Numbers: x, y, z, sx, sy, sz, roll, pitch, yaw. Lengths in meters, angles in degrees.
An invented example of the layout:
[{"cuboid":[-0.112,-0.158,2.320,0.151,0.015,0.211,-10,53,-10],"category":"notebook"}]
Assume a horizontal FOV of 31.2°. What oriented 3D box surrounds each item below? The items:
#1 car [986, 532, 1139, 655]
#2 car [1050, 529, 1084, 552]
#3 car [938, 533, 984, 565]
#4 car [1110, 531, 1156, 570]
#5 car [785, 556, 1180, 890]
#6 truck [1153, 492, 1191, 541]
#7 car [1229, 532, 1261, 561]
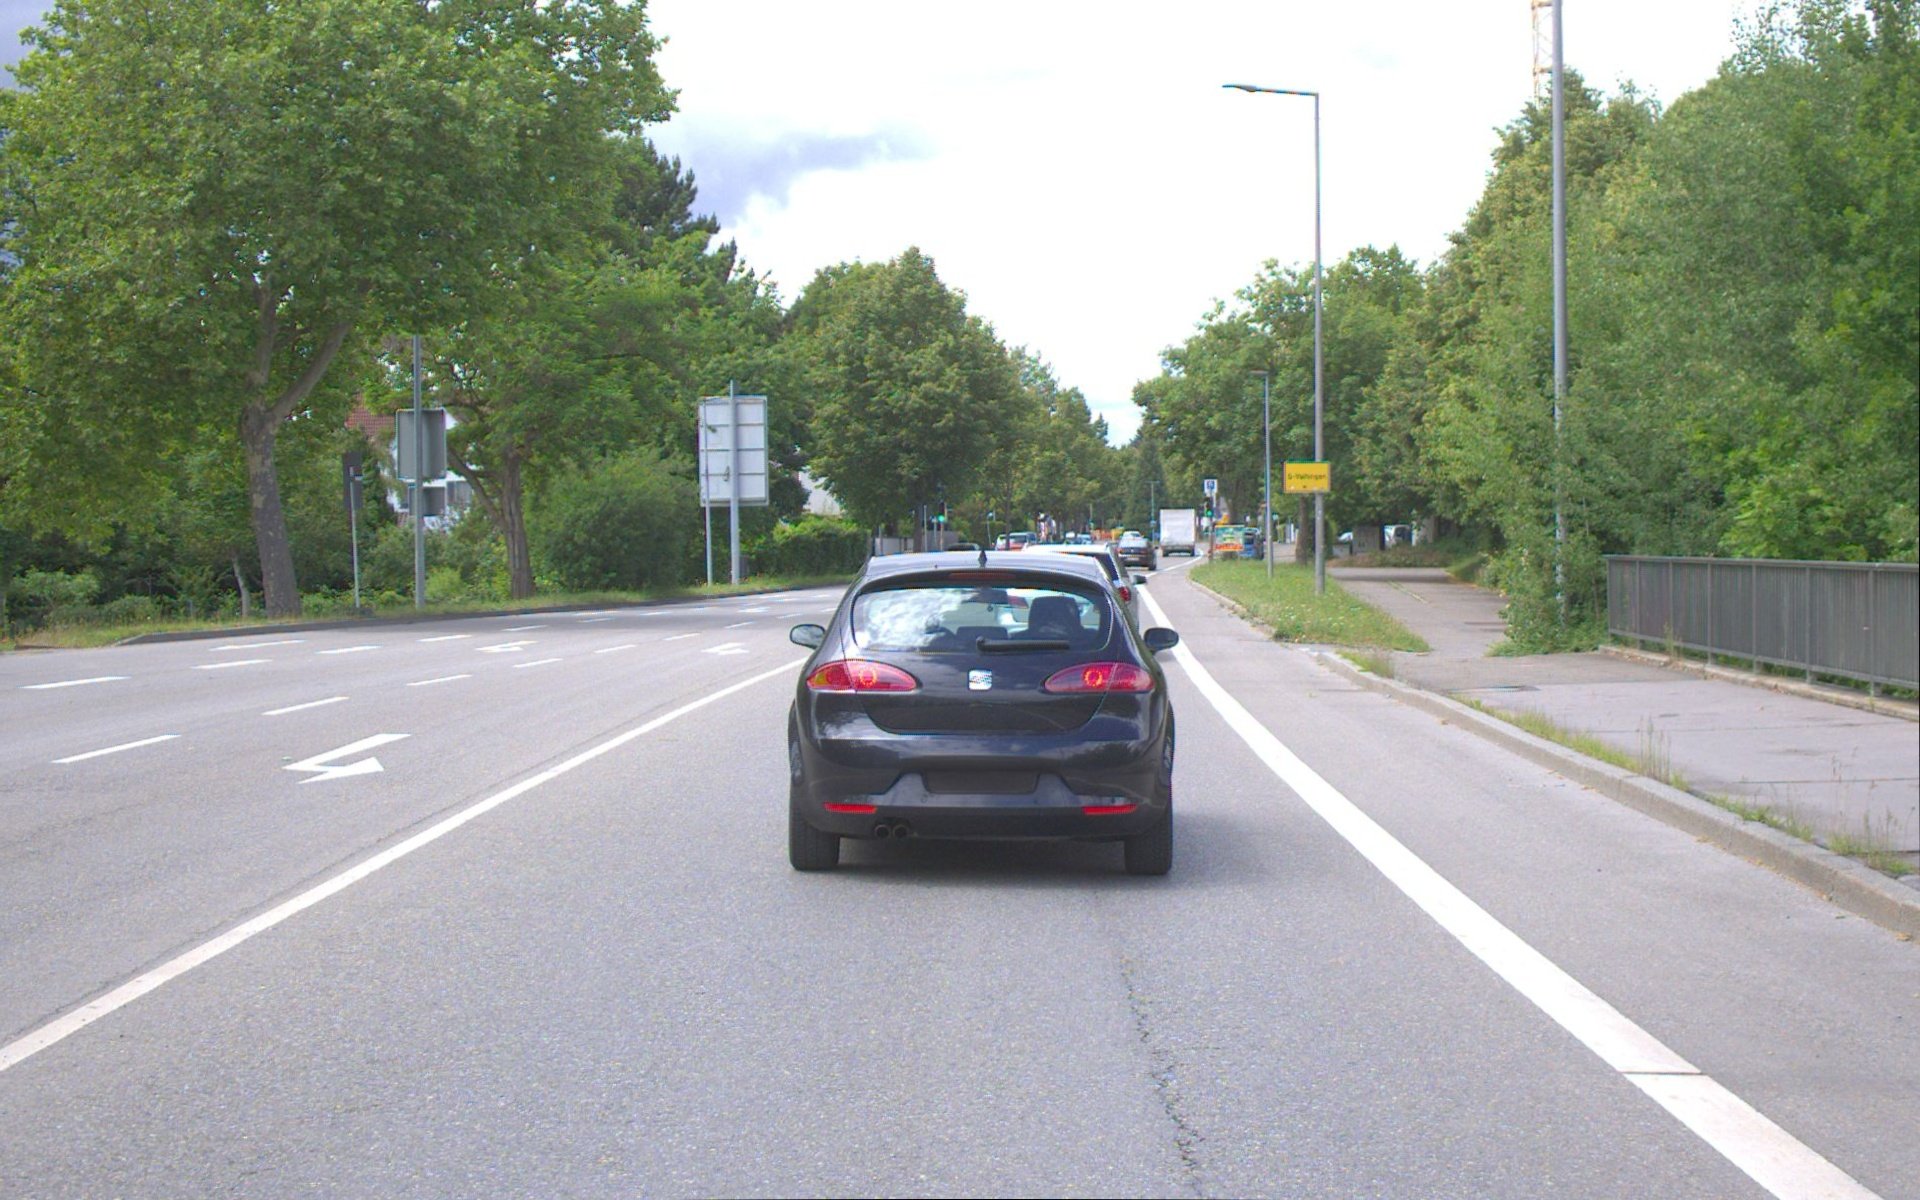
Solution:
[{"cuboid":[1.374,-0.110,44.557,1.846,1.504,3.811,1,1,3],"category":"car"},{"cuboid":[7.666,-4.273,246.310,2.100,1.501,5.783,-2,1,5],"category":"car"},{"cuboid":[0.054,-2.407,160.306,1.718,1.390,4.800,-2,1,5],"category":"car"},{"cuboid":[7.620,-2.198,151.274,1.882,1.683,4.213,-1,1,5],"category":"car"},{"cuboid":[0.077,0.501,16.578,1.663,1.396,3.812,1,1,-1],"category":"car"},{"cuboid":[13.891,-5.422,224.899,2.279,3.093,8.509,1,1,4],"category":"truck"},{"cuboid":[15.147,-2.864,182.689,1.688,1.485,3.354,-1,1,5],"category":"car"}]
